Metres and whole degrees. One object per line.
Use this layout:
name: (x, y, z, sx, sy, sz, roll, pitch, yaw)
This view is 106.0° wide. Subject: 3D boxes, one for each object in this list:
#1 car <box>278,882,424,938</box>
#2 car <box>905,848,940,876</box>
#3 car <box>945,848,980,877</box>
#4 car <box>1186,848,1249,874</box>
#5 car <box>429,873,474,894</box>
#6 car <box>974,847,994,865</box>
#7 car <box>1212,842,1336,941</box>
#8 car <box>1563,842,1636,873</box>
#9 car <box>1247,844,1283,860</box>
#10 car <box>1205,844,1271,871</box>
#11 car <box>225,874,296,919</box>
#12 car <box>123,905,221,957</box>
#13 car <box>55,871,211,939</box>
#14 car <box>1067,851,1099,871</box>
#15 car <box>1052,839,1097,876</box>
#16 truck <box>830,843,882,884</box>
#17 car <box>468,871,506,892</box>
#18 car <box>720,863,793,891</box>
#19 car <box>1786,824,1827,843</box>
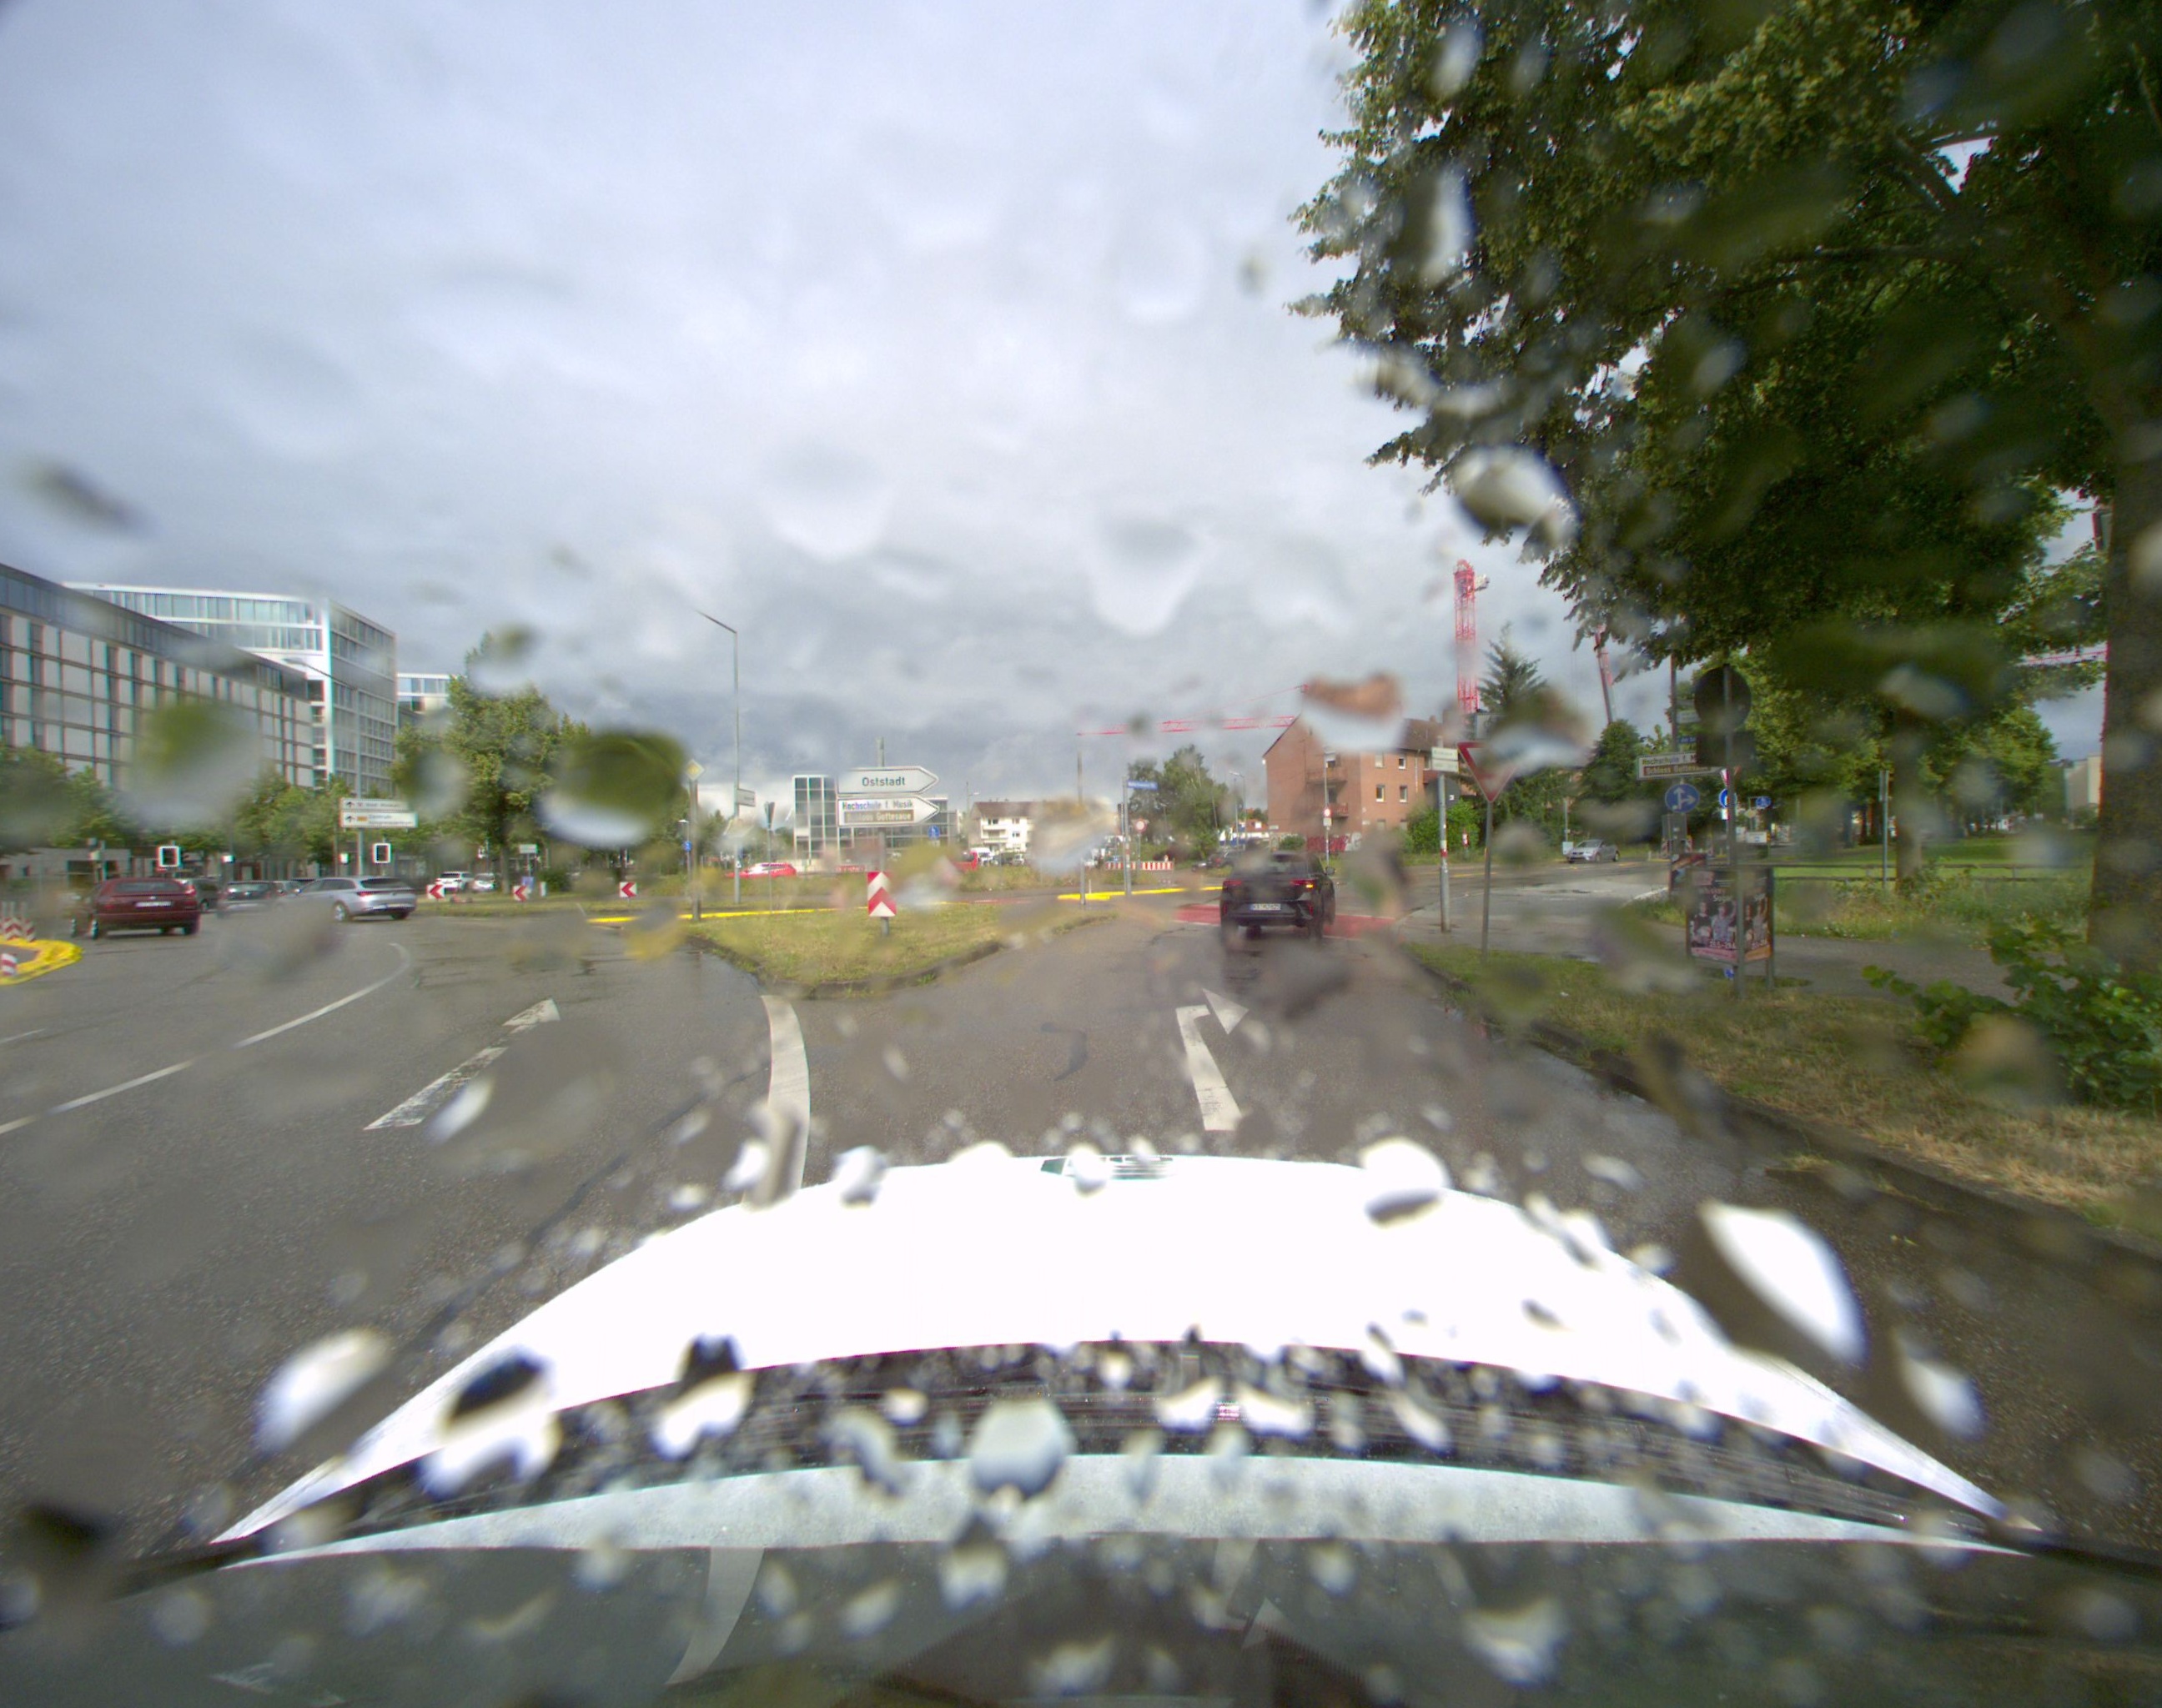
car: (-22.851, 1.745, 25.530, 3.513, 1.560, 1.606, -2, 1, 13)
car: (-10.806, 0.518, 55.390, 1.857, 1.700, 3.977, -2, 2, -18)
car: (-7.786, 0.518, 53.222, 1.926, 1.700, 3.983, -1, 2, -13)
car: (9.485, 0.492, 56.894, 4.039, 1.632, 1.614, -2, 0, -6)
car: (-48.749, 2.243, 63.159, 1.498, 1.510, 3.482, 0, -1, -15)
car: (-12.599, 0.216, 105.832, 2.372, 2.084, 4.957, -1, 2, -8)
car: (3.832, 0.617, 15.620, 1.882, 1.617, 4.020, -1, 0, 19)
car: (32.672, 0.197, 51.291, 4.714, 1.731, 2.062, -2, 2, -31)
car: (18.911, -0.226, 83.668, 3.482, 1.519, 1.624, -2, 0, 17)
car: (10.458, 0.229, 54.406, 4.039, 1.632, 1.614, -2, 0, -6)
car: (-32.616, 1.637, 32.459, 1.558, 1.560, 3.460, -2, 1, -38)
car: (-33.865, 2.814, 30.444, 1.556, 1.560, 3.464, -2, 1, -33)
car: (-23.437, 1.255, 20.118, 3.949, 1.462, 1.731, -3, 0, 29)
car: (0.243, 0.771, 90.462, 2.003, 2.123, 3.967, -2, 0, -25)
car: (-0.498, 0.155, 52.165, 2.035, 2.084, 6.249, -1, 2, -8)
truck: (-14.233, 0.523, 51.834, 2.389, 2.211, 6.084, -1, 2, -9)
car: (-45.344, 2.062, 62.224, 1.501, 1.510, 3.475, 0, -1, -22)
car: (-20.677, 1.430, 51.979, 4.195, 1.510, 1.845, -2, 2, -22)
car: (68.566, -1.967, 76.973, 4.721, 1.731, 2.059, -3, 3, -38)
